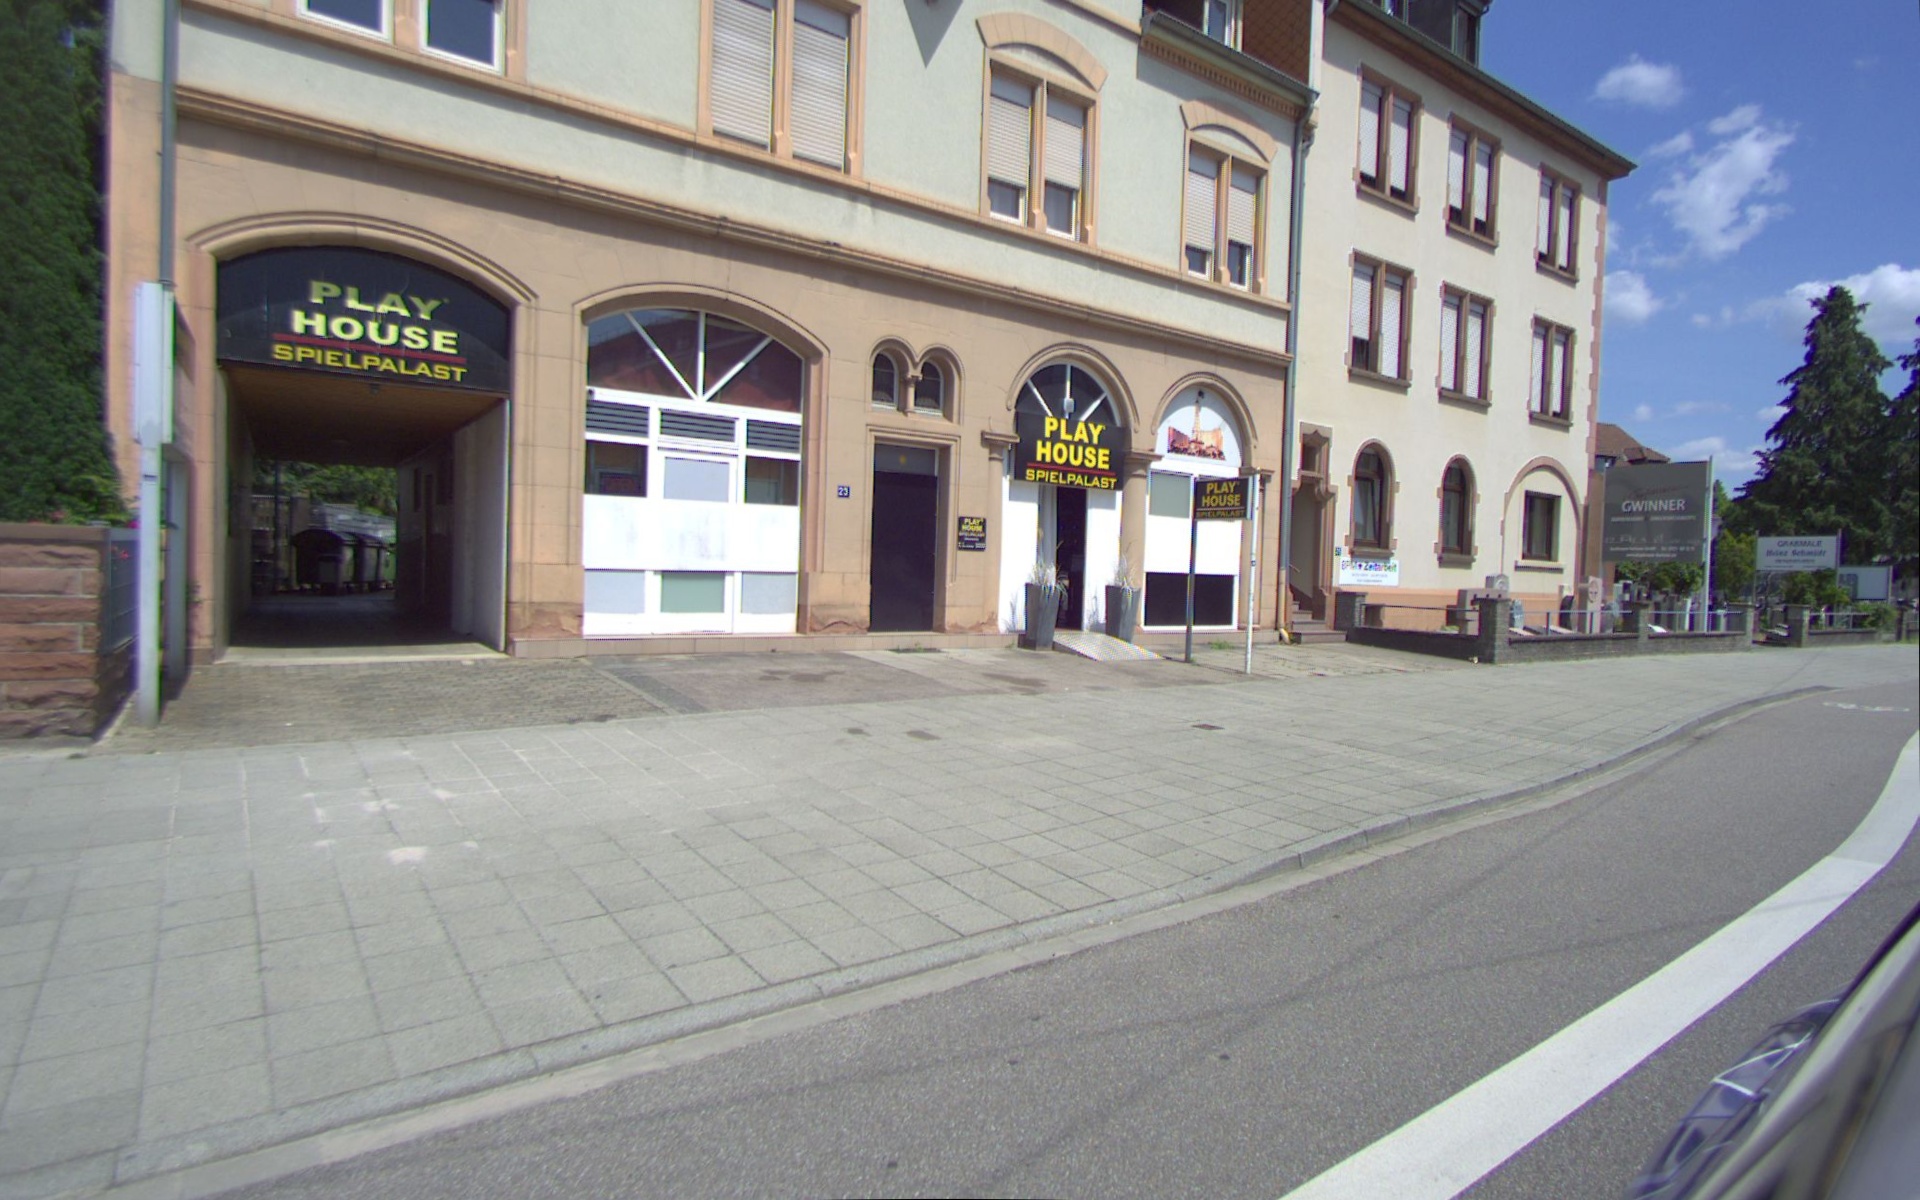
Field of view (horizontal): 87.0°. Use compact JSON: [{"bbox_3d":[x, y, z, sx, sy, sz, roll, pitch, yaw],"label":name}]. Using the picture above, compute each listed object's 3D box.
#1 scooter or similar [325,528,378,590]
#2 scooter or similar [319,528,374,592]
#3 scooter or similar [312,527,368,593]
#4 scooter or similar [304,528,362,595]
[{"bbox_3d":[-15.207,-1.022,25.318,1.057,1.500,0.643,0,4,-23],"label":"scooter or similar"},{"bbox_3d":[-14.942,-0.974,24.668,1.057,1.500,0.643,0,4,-23],"label":"scooter or similar"},{"bbox_3d":[-14.656,-0.951,23.950,1.057,1.500,0.643,0,4,-23],"label":"scooter or similar"},{"bbox_3d":[-14.359,-0.888,23.202,1.057,1.500,0.643,0,4,-24],"label":"scooter or similar"}]
